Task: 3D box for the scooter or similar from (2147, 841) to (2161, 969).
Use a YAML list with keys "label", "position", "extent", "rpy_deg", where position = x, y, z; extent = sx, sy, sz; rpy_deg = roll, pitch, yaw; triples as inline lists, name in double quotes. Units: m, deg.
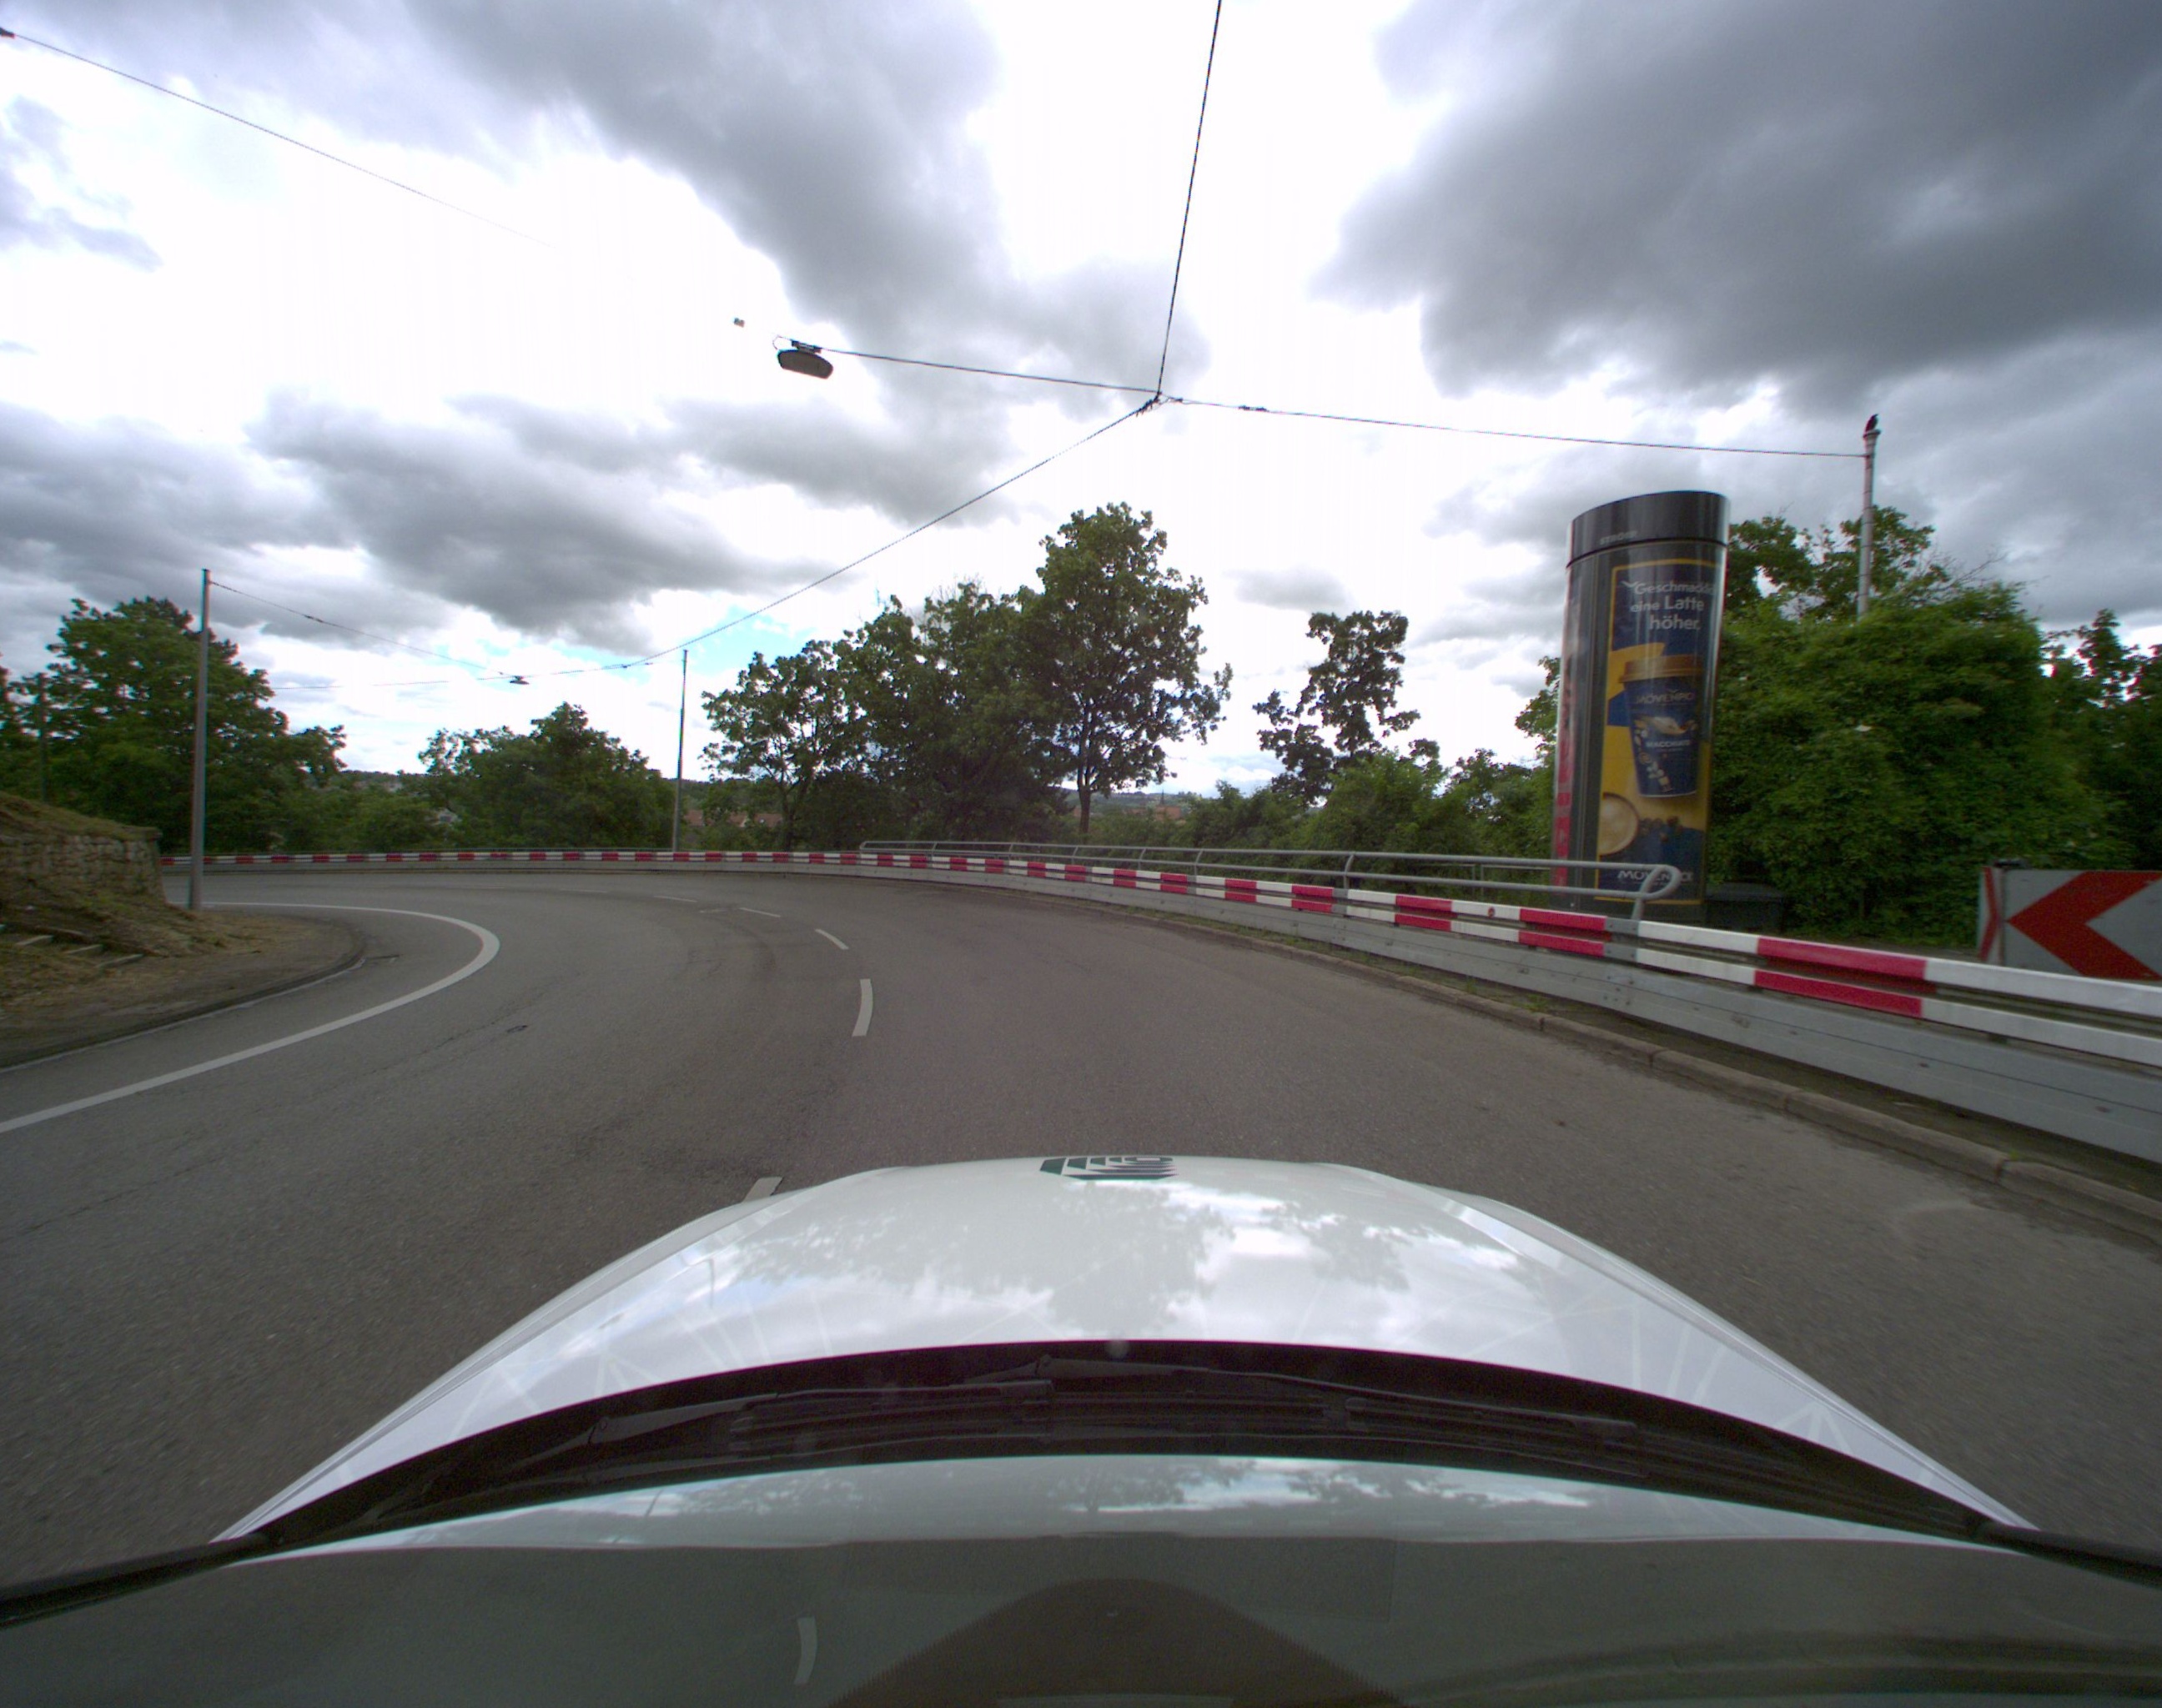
- label: "scooter or similar"
  position: [11.240, 0.503, 8.272]
  extent: [1.508, 1.250, 0.432]
  rpy_deg: [0, 1, -39]
